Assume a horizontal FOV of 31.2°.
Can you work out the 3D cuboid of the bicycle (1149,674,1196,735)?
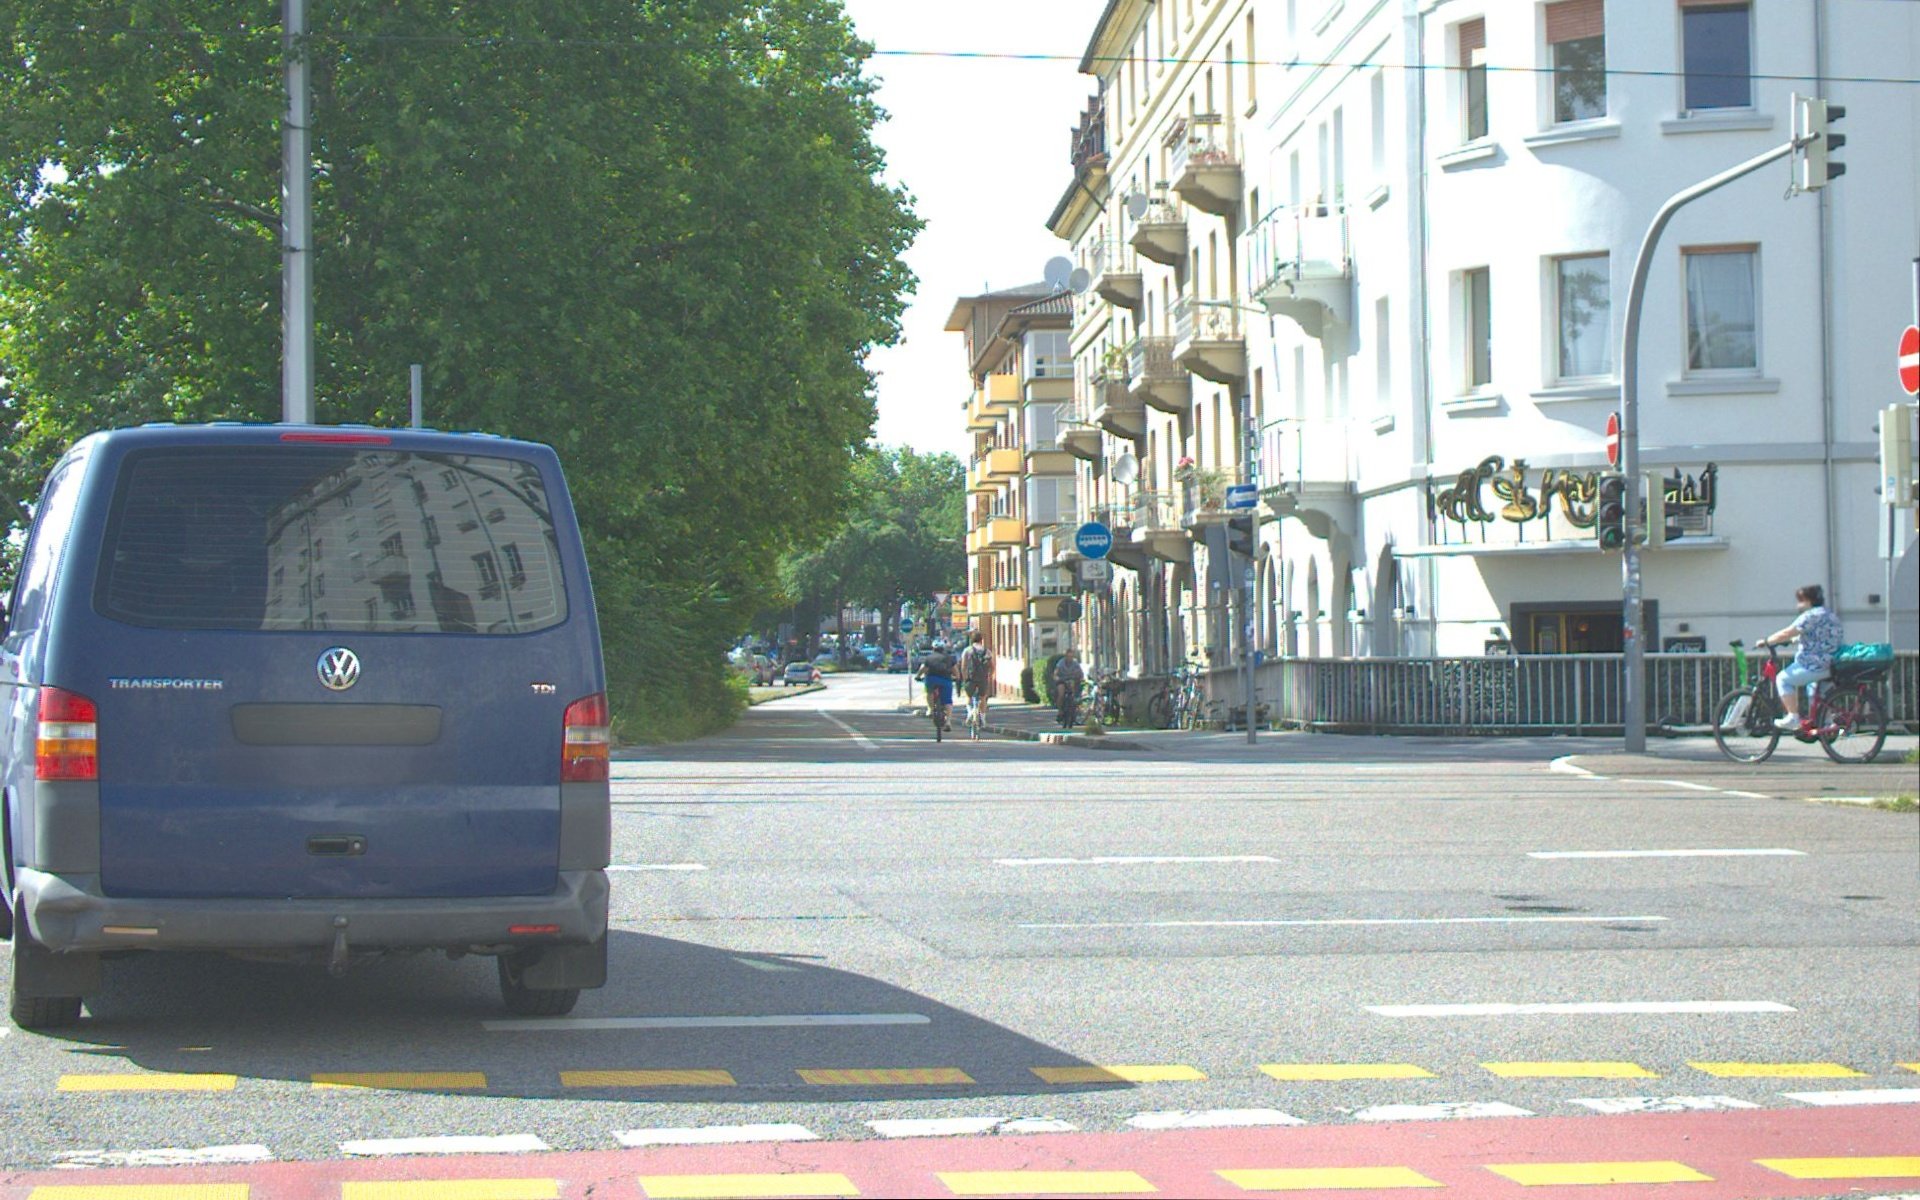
[{"bbox_3d":[3.877,1.895,62.811,0.680,1.071,2.292,0,-1,-1],"label":"bicycle"}]

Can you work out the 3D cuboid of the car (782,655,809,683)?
[{"bbox_3d":[-10.013,4.208,209.359,1.626,1.617,3.696,1,0,-2],"label":"car"}]

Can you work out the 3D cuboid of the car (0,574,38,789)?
[{"bbox_3d":[-7.809,0.545,23.196,1.718,1.400,3.410,1,-2,-42],"label":"car"}]

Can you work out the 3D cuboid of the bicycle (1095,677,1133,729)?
[{"bbox_3d":[3.301,2.201,73.680,0.680,1.071,2.292,0,-1,-1],"label":"bicycle"}]

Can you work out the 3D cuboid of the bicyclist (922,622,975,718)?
[{"bbox_3d":[-0.186,1.138,55.872,0.837,1.532,1.023,0,-1,1],"label":"bicyclist"}]

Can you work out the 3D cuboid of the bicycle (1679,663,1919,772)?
[{"bbox_3d":[8.008,1.100,32.556,0.865,0.987,2.245,2,-2,-44],"label":"bicycle"}]

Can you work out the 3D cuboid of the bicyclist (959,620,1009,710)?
[{"bbox_3d":[0.421,1.130,59.602,0.837,1.532,1.023,0,-1,1],"label":"bicyclist"}]

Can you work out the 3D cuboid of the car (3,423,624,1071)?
[{"bbox_3d":[-2.383,0.415,12.245,1.815,1.899,4.055,0,0,-13],"label":"car"}]

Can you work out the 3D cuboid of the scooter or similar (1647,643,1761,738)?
[{"bbox_3d":[8.782,1.066,40.612,1.301,1.114,0.339,0,-1,11],"label":"scooter or similar"}]

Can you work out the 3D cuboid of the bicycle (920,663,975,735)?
[{"bbox_3d":[-0.190,1.606,55.838,0.837,1.133,2.858,0,-1,1],"label":"bicycle"}]

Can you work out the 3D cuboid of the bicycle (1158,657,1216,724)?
[{"bbox_3d":[3.912,1.554,59.333,0.837,1.133,2.858,0,-1,1],"label":"bicycle"}]

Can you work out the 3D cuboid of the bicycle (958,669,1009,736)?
[{"bbox_3d":[0.420,1.761,59.496,0.837,1.133,2.858,0,-1,1],"label":"bicycle"}]

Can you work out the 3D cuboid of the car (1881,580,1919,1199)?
[{"bbox_3d":[2.954,0.715,6.662,1.589,1.488,3.662,0,0,4],"label":"car"}]

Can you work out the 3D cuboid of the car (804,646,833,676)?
[{"bbox_3d":[-8.306,3.578,201.557,1.626,1.617,3.696,1,0,-2],"label":"car"}]

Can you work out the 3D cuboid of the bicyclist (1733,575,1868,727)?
[{"bbox_3d":[7.972,0.485,32.609,0.865,1.411,0.916,2,-2,-45],"label":"bicyclist"}]

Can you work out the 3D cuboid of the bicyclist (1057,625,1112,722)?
[{"bbox_3d":[1.965,1.163,54.349,0.837,1.503,0.953,0,-1,1],"label":"bicyclist"}]

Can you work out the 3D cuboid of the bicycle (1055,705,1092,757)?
[{"bbox_3d":[2.356,2.722,71.572,0.708,0.987,1.819,-2,0,0],"label":"bicycle"}]

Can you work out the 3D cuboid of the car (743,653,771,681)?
[{"bbox_3d":[-12.300,4.053,208.693,1.626,1.617,3.696,1,0,-2],"label":"car"}]

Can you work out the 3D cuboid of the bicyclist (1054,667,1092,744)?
[{"bbox_3d":[2.346,2.191,71.578,0.708,1.544,0.784,-2,0,0],"label":"bicyclist"}]

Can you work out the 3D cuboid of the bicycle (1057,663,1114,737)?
[{"bbox_3d":[1.974,1.580,54.438,0.837,1.133,2.858,0,-1,1],"label":"bicycle"}]
